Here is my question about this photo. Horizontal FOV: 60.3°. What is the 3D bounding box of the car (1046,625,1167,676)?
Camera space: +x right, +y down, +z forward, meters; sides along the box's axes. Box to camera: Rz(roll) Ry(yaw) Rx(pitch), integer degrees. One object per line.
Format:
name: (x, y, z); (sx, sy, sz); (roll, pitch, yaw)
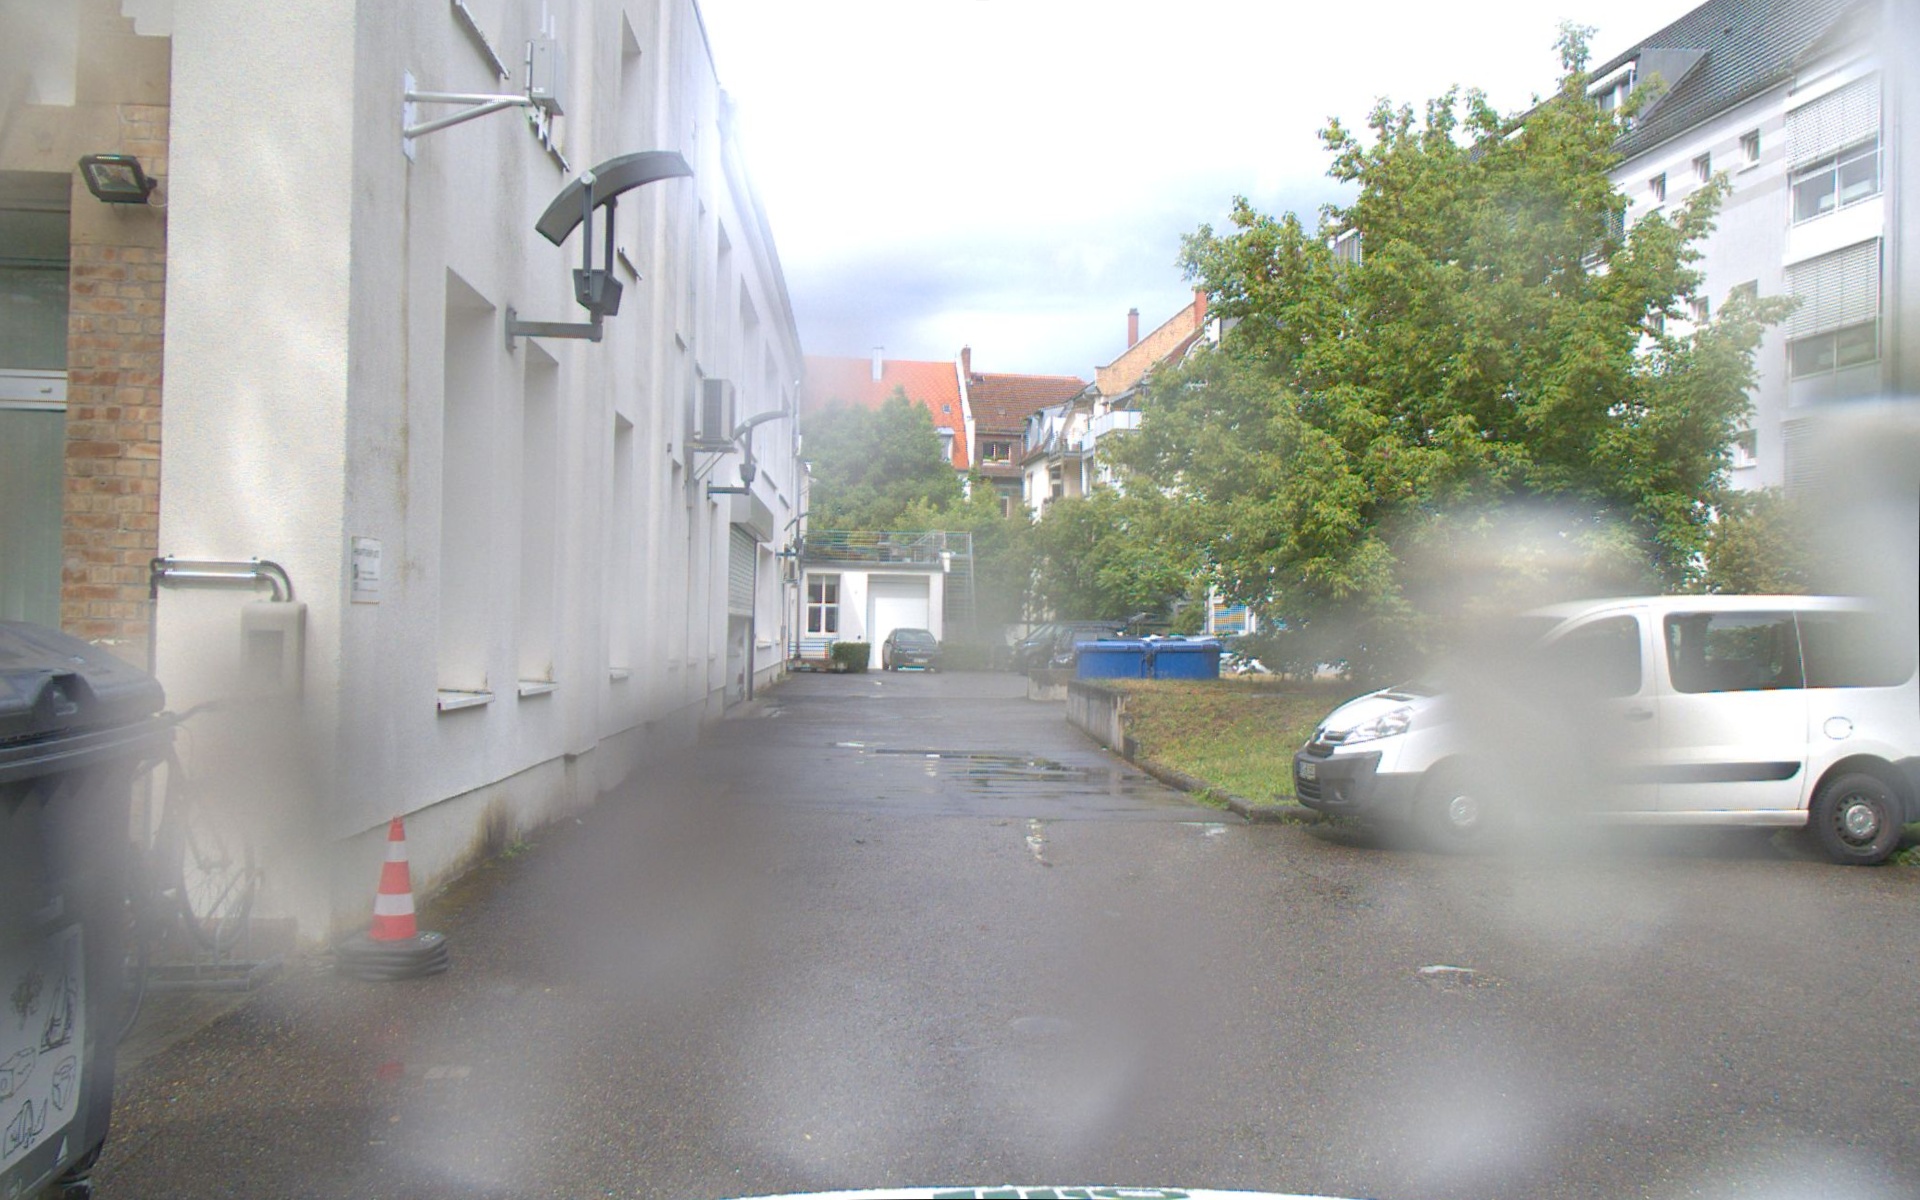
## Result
car: (4.945, 1.707, 56.185); (3.833, 1.717, 1.815); (0, -1, -5)

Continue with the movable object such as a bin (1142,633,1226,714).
movable object such as a bin: (3.827, 1.241, 28.356); (1.267, 1.360, 1.196); (0, -1, -2)

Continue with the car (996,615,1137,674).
car: (3.774, 1.565, 58.928); (4.557, 2.038, 2.217); (0, 0, -14)

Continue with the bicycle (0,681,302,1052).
bicycle: (-2.965, 0.882, 6.009); (0.603, 1.136, 1.519); (0, -2, -3)

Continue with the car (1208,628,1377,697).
car: (7.411, 1.383, 37.019); (3.350, 1.452, 1.685); (-1, -2, -6)

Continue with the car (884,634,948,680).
car: (-1.572, 1.983, 58.076); (1.941, 1.469, 3.995); (2, -1, -6)

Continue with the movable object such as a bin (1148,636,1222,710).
movable object such as a bin: (4.090, 1.320, 30.111); (1.162, 1.327, 1.106); (0, -1, -3)

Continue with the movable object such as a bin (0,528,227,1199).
movable object such as a bin: (-2.227, 0.646, 3.121); (1.143, 1.509, 1.591); (0, -1, -9)

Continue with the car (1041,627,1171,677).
car: (4.636, 1.648, 52.870); (3.836, 1.540, 1.748); (0, -1, -9)

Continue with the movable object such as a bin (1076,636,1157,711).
movable object such as a bin: (2.819, 1.322, 29.987); (1.344, 1.327, 1.082); (0, -1, -2)

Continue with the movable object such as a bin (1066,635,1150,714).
movable object such as a bin: (2.515, 1.258, 28.213); (1.310, 1.314, 1.095); (0, 0, -2)

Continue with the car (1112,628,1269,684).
car: (6.256, 1.529, 45.087); (3.913, 1.484, 1.769); (0, -1, -9)

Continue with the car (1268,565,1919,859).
car: (5.020, 0.848, 12.932); (4.775, 1.959, 2.098); (2, -2, -2)
